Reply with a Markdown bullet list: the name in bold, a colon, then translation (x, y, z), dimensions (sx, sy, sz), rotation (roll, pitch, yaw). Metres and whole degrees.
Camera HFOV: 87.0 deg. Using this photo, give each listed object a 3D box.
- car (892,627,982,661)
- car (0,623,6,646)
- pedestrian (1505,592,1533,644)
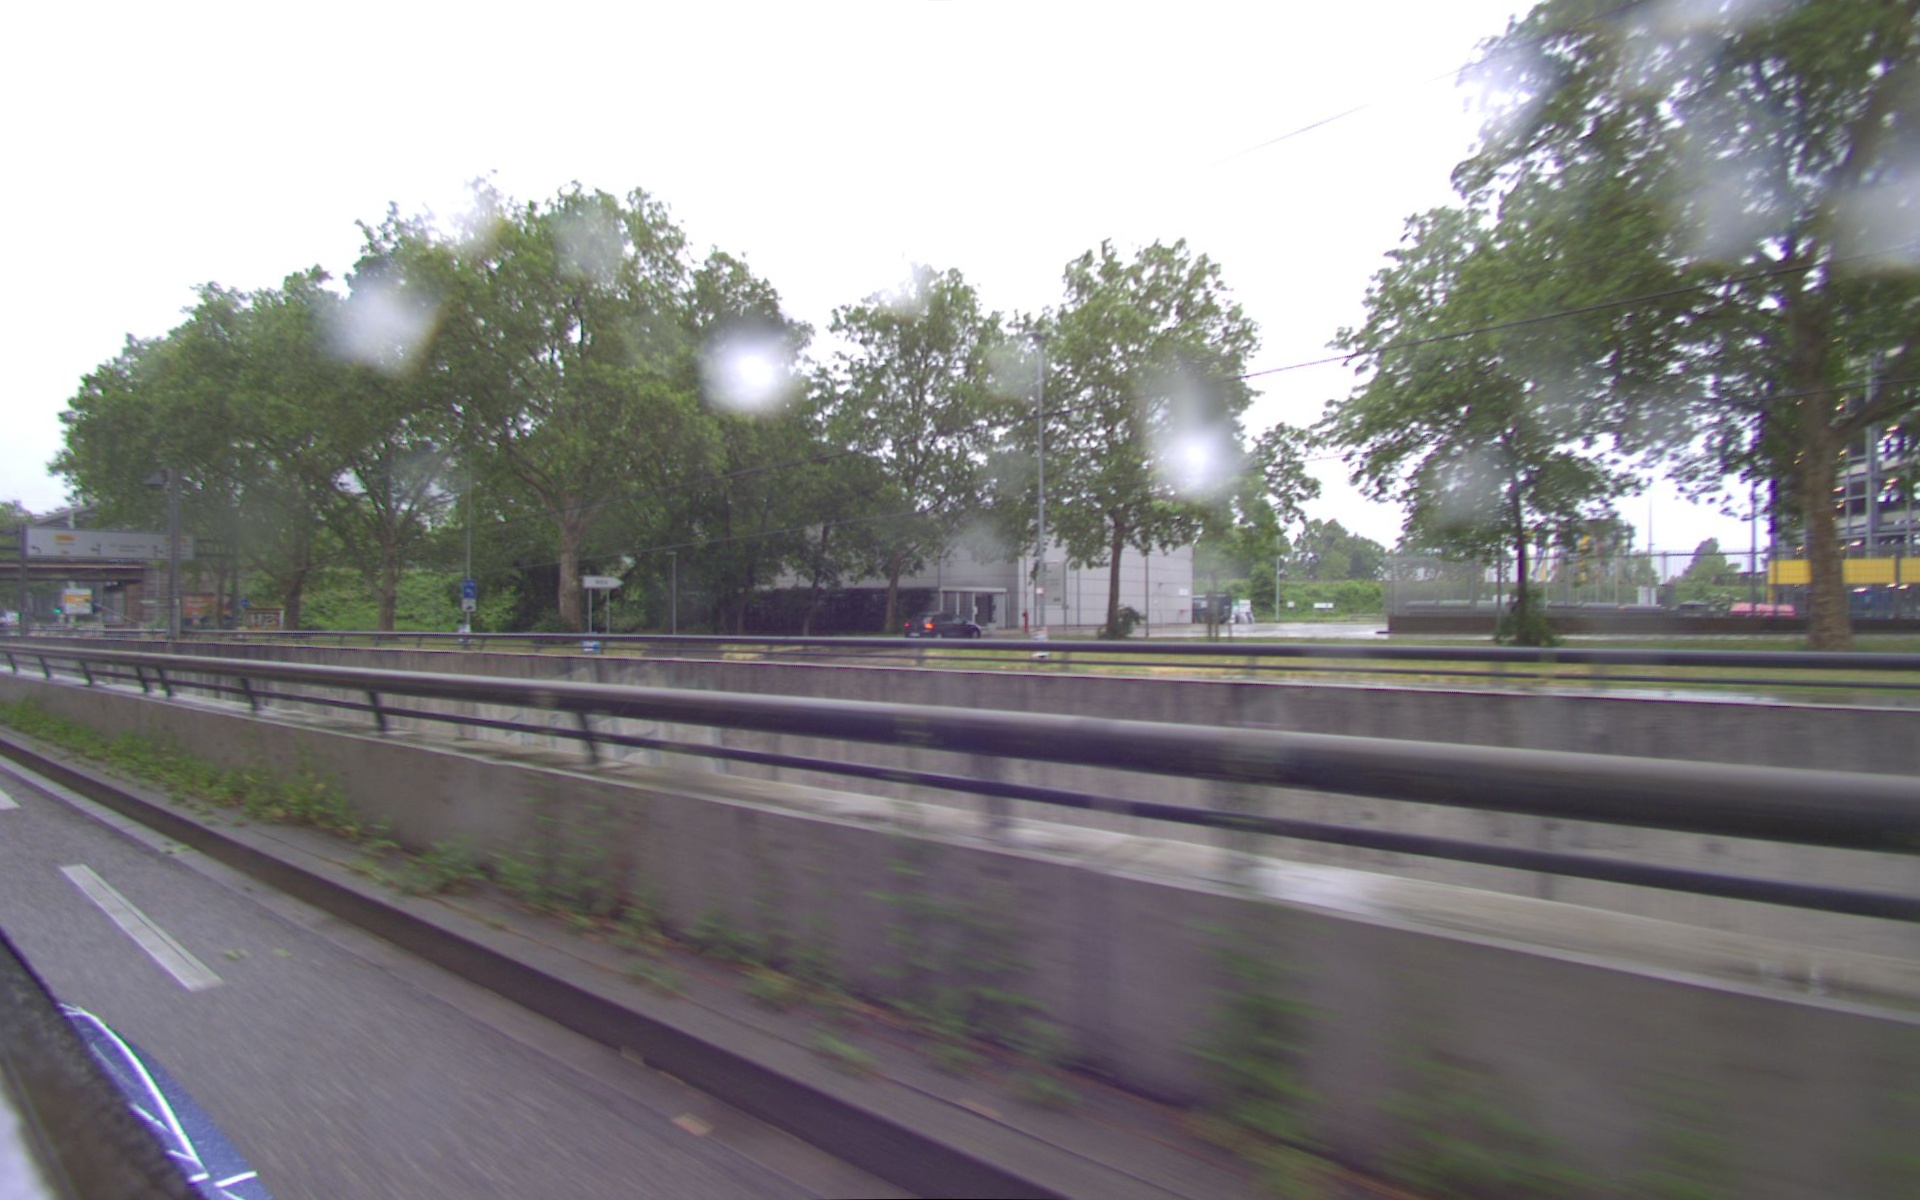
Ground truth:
- **car**: translation (-1.014, 1.935, 45.278), dimensions (2.000, 1.414, 3.741), rotation (-2, -1, 42)
- **car**: translation (-90.115, 3.220, 93.682), dimensions (4.505, 2.029, 1.974), rotation (-1, 1, 39)
- **pedestrian**: translation (22.577, 0.710, 40.877), dimensions (0.789, 2.029, 0.991), rotation (-1, 1, 41)
